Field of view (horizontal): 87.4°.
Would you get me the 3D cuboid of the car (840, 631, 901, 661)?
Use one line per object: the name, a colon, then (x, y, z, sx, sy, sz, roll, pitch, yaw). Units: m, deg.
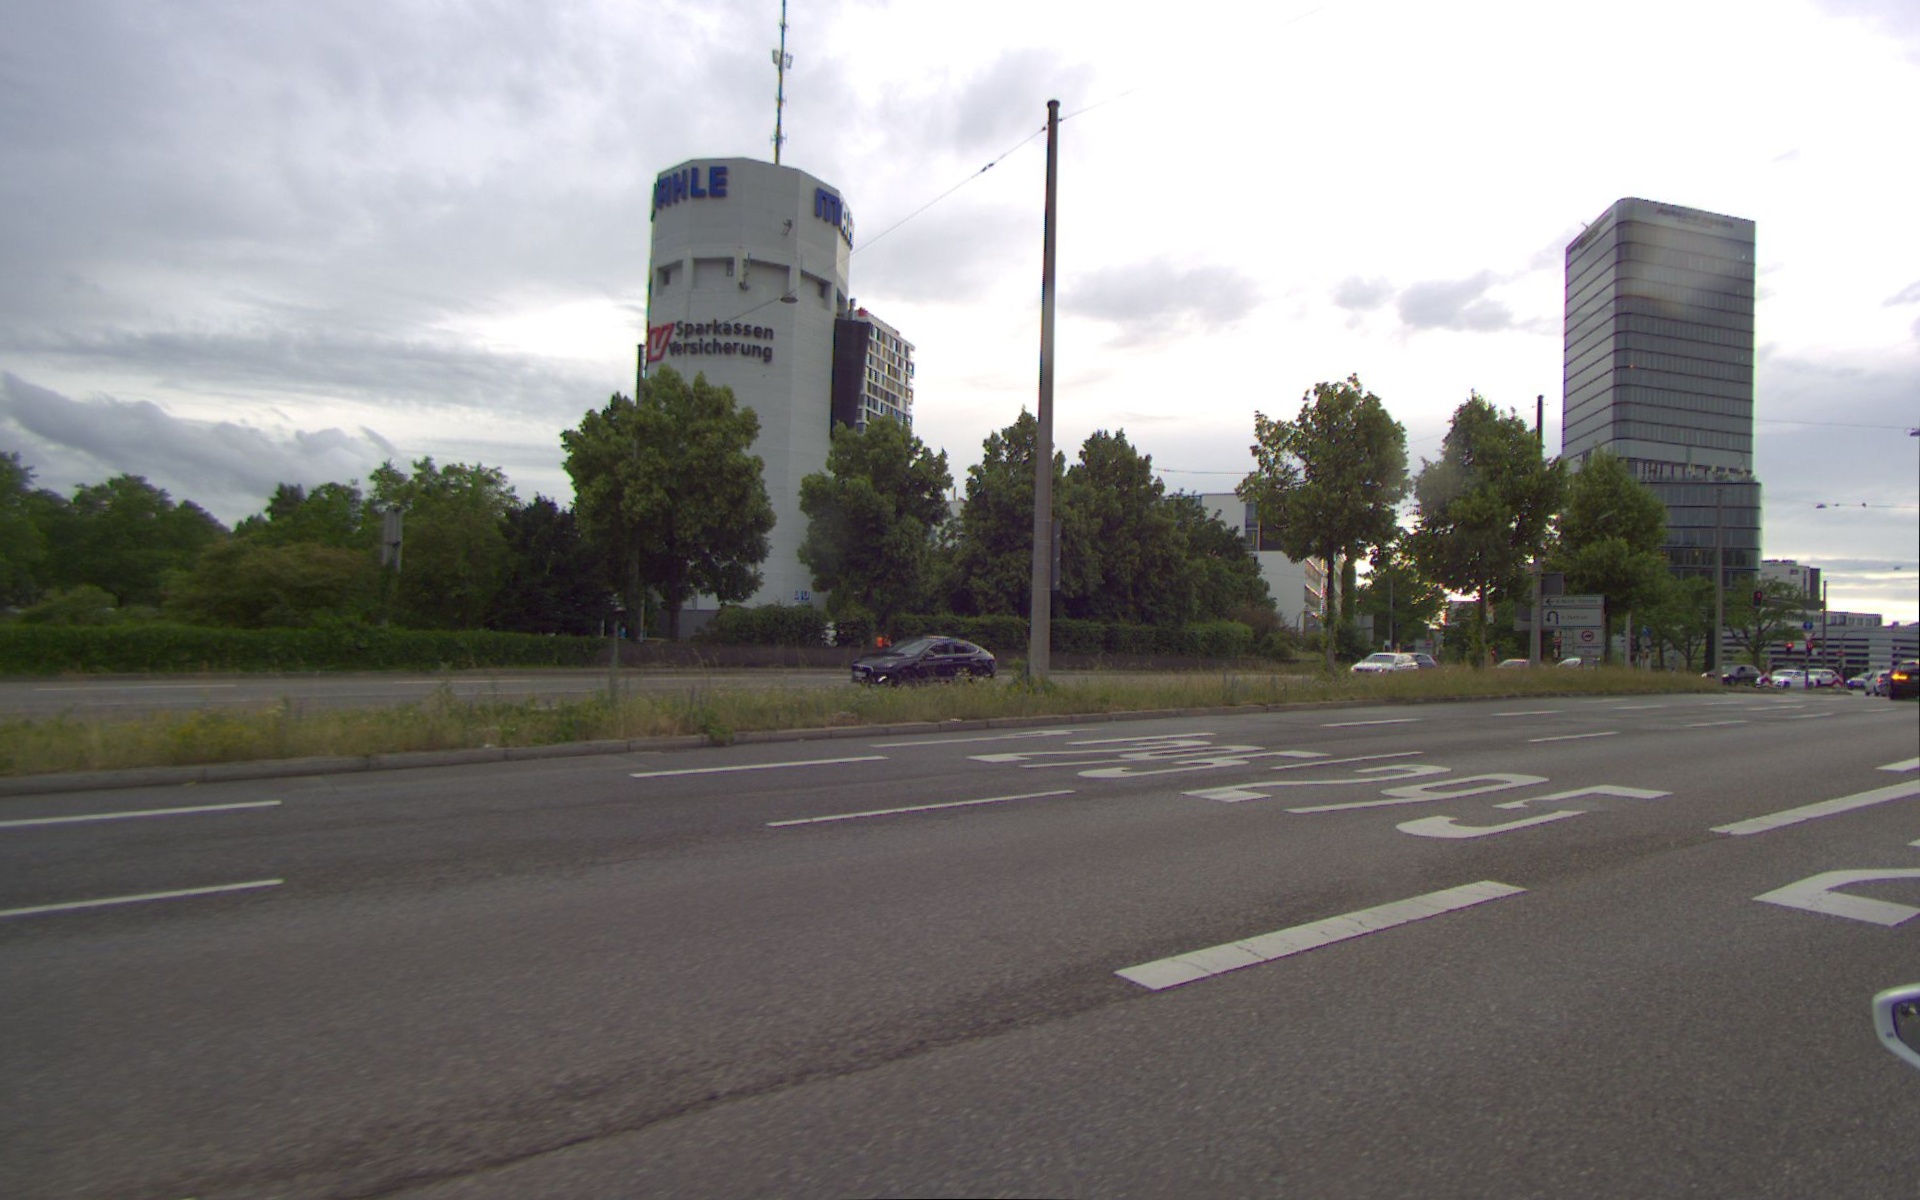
car: (-6.443, 3.306, 72.576, 3.964, 2.040, 1.979, 2, -2, -38)

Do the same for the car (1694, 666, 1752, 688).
car: (56.919, 5.742, 74.931, 4.527, 1.503, 1.920, 3, -2, -31)

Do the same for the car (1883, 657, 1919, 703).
car: (34.591, 2.892, 36.216, 1.884, 1.584, 3.978, -2, -5, 43)

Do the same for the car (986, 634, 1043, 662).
car: (4.127, 3.606, 76.017, 3.963, 2.040, 1.979, 2, -2, -37)

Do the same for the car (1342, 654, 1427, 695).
car: (20.433, 3.602, 48.294, 4.838, 1.794, 1.975, 5, -3, -43)

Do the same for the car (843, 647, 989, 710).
car: (-1.133, 2.045, 26.744, 3.642, 1.379, 1.582, 0, 1, -37)

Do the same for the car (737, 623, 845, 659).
car: (-11.462, 2.795, 68.488, 6.935, 2.159, 2.366, 4, -2, -37)

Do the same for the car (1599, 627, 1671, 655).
car: (42.020, 2.565, 62.495, 4.549, 1.680, 1.885, 2, -2, -29)

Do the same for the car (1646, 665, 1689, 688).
car: (59.885, 6.449, 85.053, 3.492, 1.840, 1.590, 1, -1, -28)

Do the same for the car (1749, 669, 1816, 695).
car: (59.241, 5.898, 72.310, 4.541, 1.680, 1.888, 3, -2, -24)

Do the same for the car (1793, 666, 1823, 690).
car: (70.277, 6.426, 83.232, 1.745, 1.862, 3.735, 0, -2, 43)

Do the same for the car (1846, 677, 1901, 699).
car: (73.601, 7.097, 80.964, 3.857, 1.679, 1.825, 3, -2, -22)
